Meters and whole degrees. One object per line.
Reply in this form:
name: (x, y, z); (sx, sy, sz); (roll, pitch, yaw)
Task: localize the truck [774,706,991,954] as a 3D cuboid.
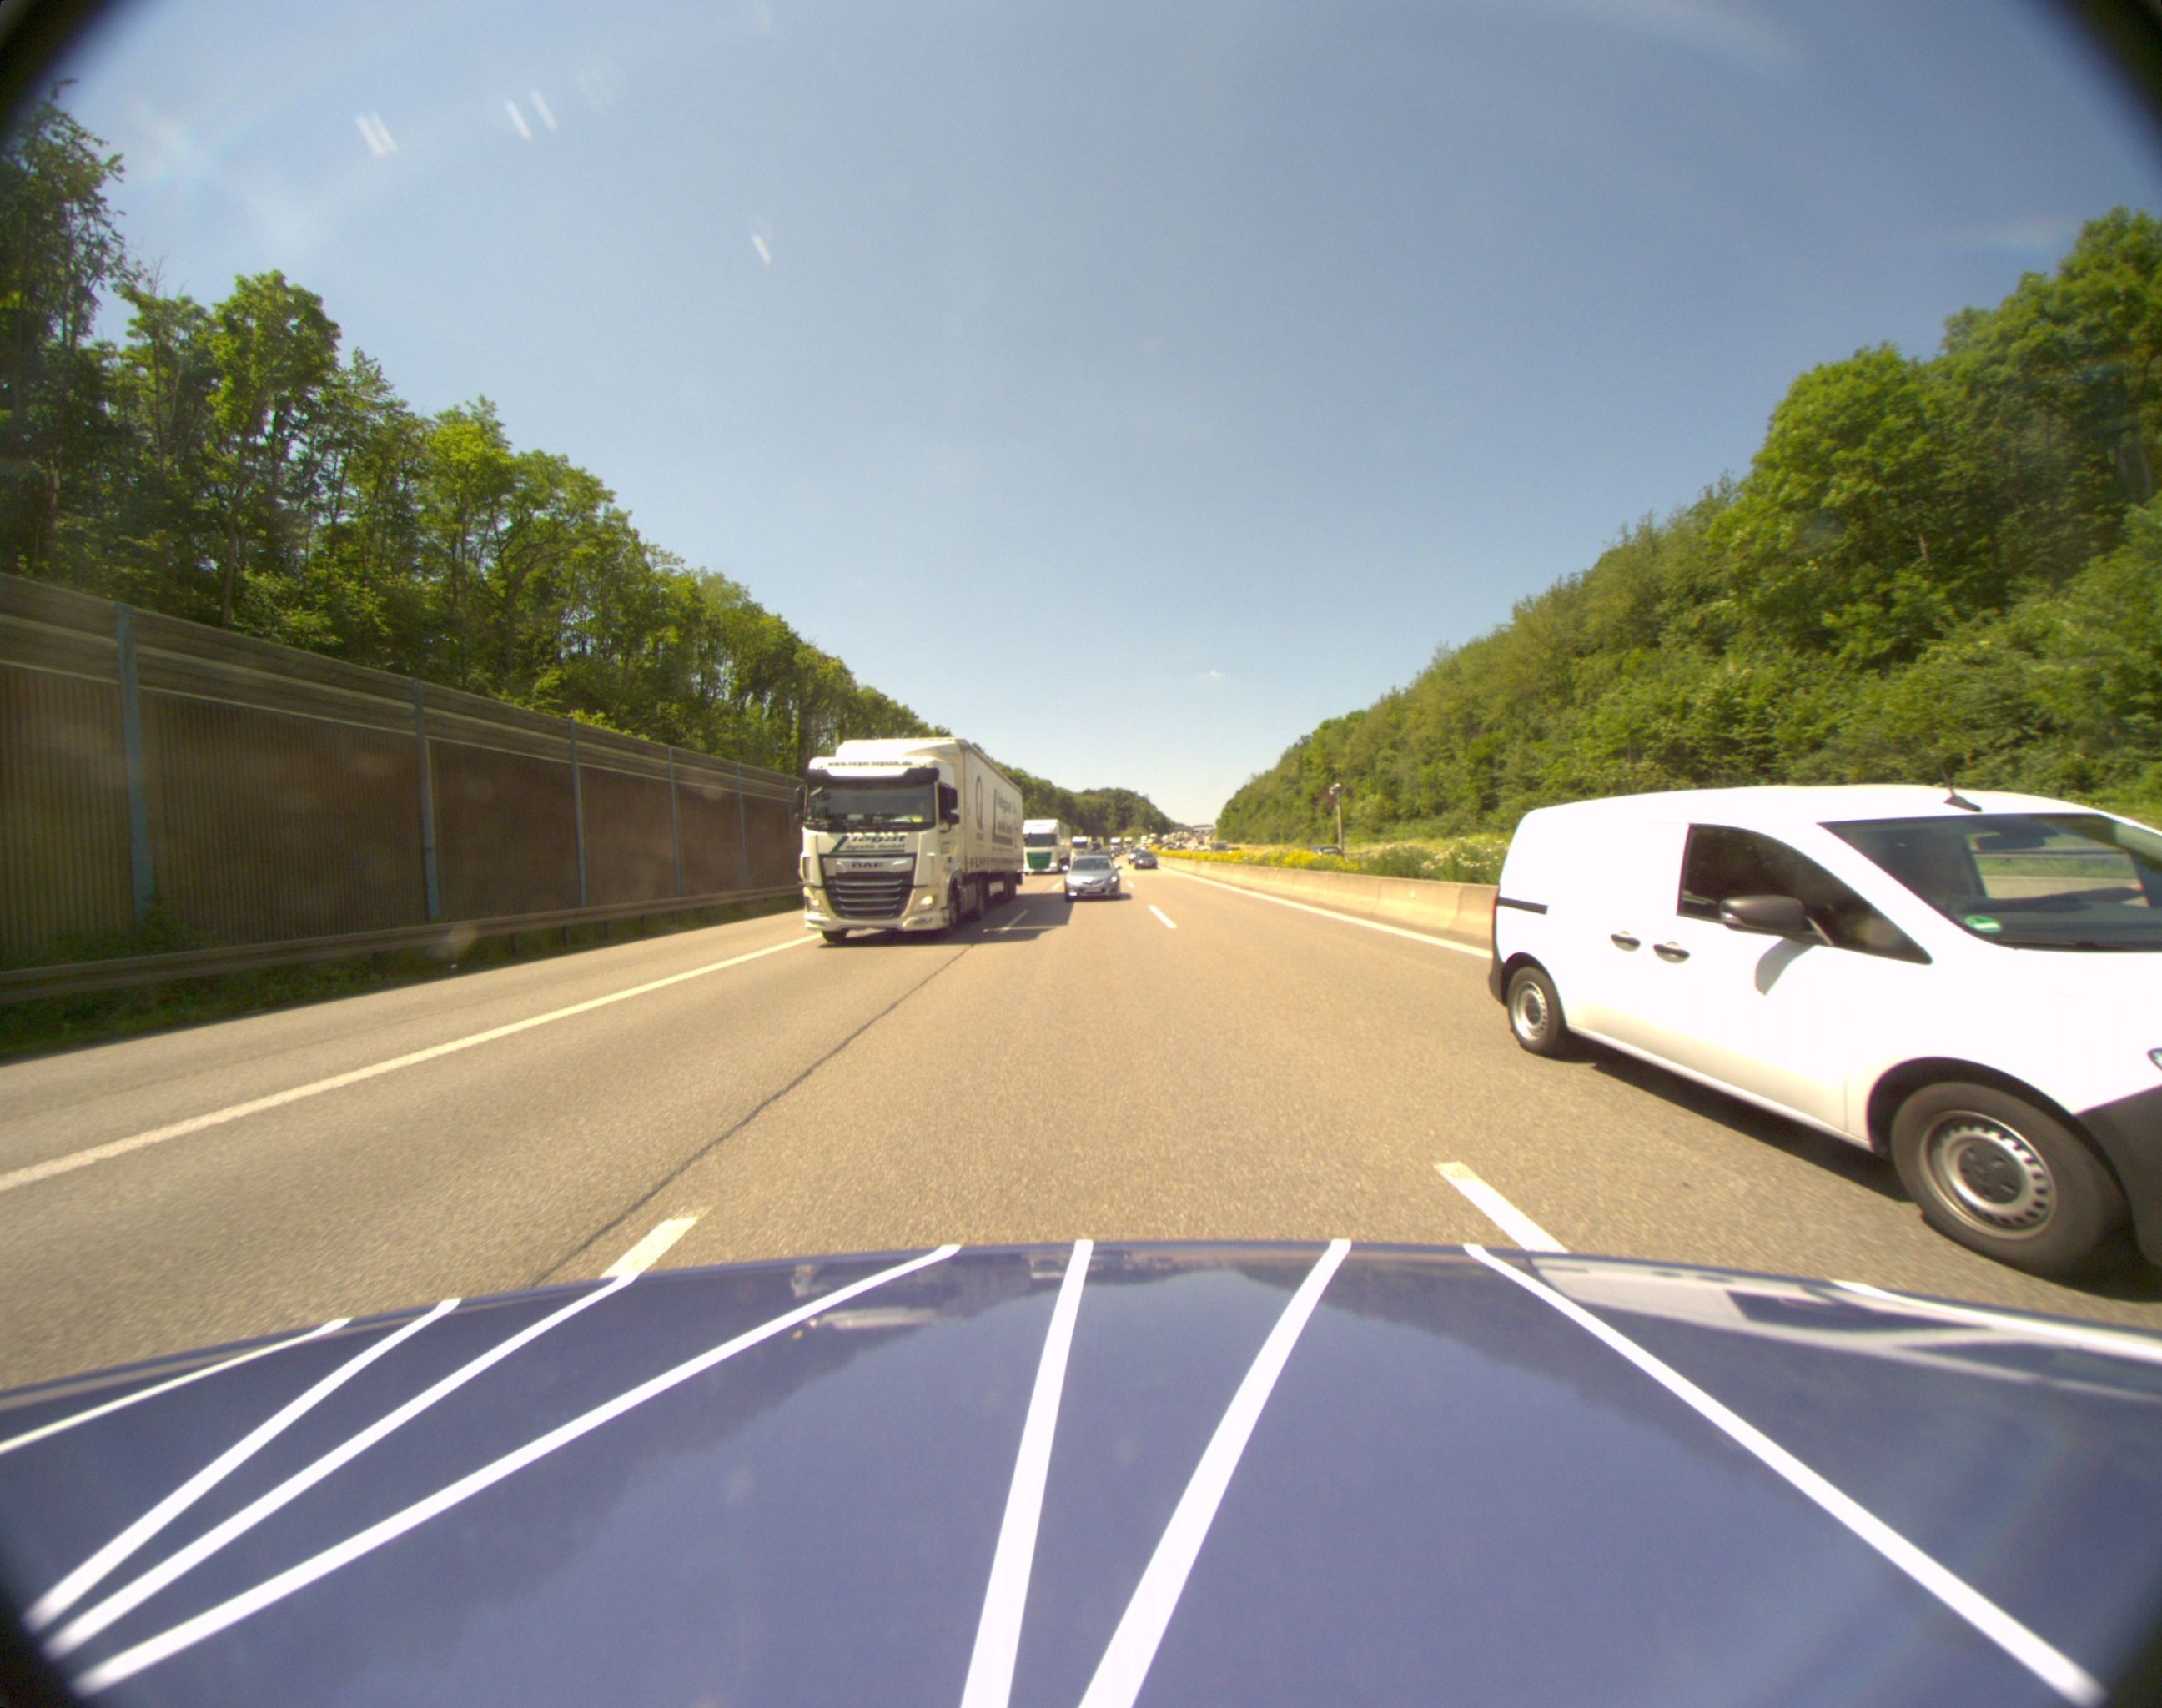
truck: (-3.768, -0.402, 16.042); (2.792, 4.180, 5.869); (-2, 0, 1)

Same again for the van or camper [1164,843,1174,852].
van or camper: (20.289, -1.582, 175.630); (1.887, 2.002, 4.587); (-2, 2, 1)

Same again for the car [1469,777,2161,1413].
car: (3.949, 0.645, 3.683); (1.769, 1.802, 4.673); (-2, 1, 1)

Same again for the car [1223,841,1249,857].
car: (17.096, -0.554, 84.024); (1.998, 1.581, 4.162); (-2, 2, 1)

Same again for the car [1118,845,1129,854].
car: (8.308, -0.855, 149.313); (1.998, 1.728, 4.000); (-2, 2, 5)

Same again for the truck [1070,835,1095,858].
truck: (0.302, -1.197, 116.429); (3.262, 3.337, 6.863); (-2, 2, 4)

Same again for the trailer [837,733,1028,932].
trailer: (-3.657, -0.455, 22.984); (2.792, 4.180, 13.243); (-2, 0, 1)

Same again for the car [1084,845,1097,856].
car: (1.622, -0.592, 125.434); (1.924, 1.652, 3.827); (-2, 2, 5)

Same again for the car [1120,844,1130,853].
car: (10.212, -1.271, 175.658); (1.997, 1.728, 4.001); (-2, 2, 7)

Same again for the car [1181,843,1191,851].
car: (24.634, -1.734, 178.826); (1.998, 1.681, 4.400); (-2, 2, 3)

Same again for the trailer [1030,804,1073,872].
trailer: (-2.312, -1.412, 65.047); (2.574, 5.012, 15.269); (-2, 2, 1)

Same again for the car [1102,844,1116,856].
car: (4.591, -0.627, 123.729); (1.998, 1.728, 4.000); (-2, 2, 5)

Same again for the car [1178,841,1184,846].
car: (33.001, -3.503, 251.109); (1.997, 1.478, 4.001); (-2, 2, 6)

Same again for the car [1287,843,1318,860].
car: (20.295, -0.241, 69.813); (1.792, 1.448, 3.999); (-2, 2, 1)

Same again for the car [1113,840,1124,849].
car: (11.279, -2.833, 226.409); (2.696, 2.468, 6.586); (-2, 2, 7)

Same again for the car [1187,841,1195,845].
car: (35.211, -3.518, 242.776); (1.998, 1.434, 4.171); (-2, 2, 3)

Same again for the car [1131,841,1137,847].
car: (16.635, -3.047, 238.473); (1.998, 1.728, 4.001); (-2, 2, 6)

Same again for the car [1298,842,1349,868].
car: (15.814, 0.040, 49.747); (1.998, 1.577, 4.273); (-2, 1, 1)

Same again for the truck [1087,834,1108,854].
truck: (3.327, -2.077, 150.175); (3.557, 3.695, 7.552); (-2, 2, 5)

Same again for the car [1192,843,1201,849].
car: (30.280, -2.064, 199.382); (1.997, 1.607, 4.485); (-2, 0, 6)

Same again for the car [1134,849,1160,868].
car: (5.358, 0.320, 61.913); (1.720, 1.470, 3.999); (-2, 1, -1)

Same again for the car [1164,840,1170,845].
car: (27.902, -3.777, 246.916); (1.997, 1.464, 4.875); (-2, 2, 7)

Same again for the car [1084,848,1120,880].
car: (1.245, 0.527, 43.444); (1.887, 1.696, 4.084); (-2, 0, 2)

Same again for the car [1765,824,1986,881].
car: (22.569, -0.063, 21.870); (1.998, 1.424, 4.191); (-2, 0, 1)

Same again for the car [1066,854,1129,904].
car: (0.491, 0.776, 25.404); (1.887, 1.459, 4.247); (-2, 0, -1)

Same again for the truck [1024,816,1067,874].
truck: (-2.565, -0.695, 56.694); (2.542, 4.007, 6.624); (-2, 2, 2)

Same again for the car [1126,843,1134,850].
car: (13.018, -1.945, 201.069); (1.997, 1.728, 4.001); (-2, 2, 6)

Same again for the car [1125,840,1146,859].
car: (5.941, -0.512, 83.227); (1.999, 2.002, 3.998); (-2, 2, -1)

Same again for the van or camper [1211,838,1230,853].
van or camper: (24.254, -1.523, 132.256); (2.191, 2.546, 6.931); (-2, 2, 3)

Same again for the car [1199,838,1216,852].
car: (19.696, -1.406, 118.327); (1.998, 2.002, 4.567); (-2, 2, 4)
